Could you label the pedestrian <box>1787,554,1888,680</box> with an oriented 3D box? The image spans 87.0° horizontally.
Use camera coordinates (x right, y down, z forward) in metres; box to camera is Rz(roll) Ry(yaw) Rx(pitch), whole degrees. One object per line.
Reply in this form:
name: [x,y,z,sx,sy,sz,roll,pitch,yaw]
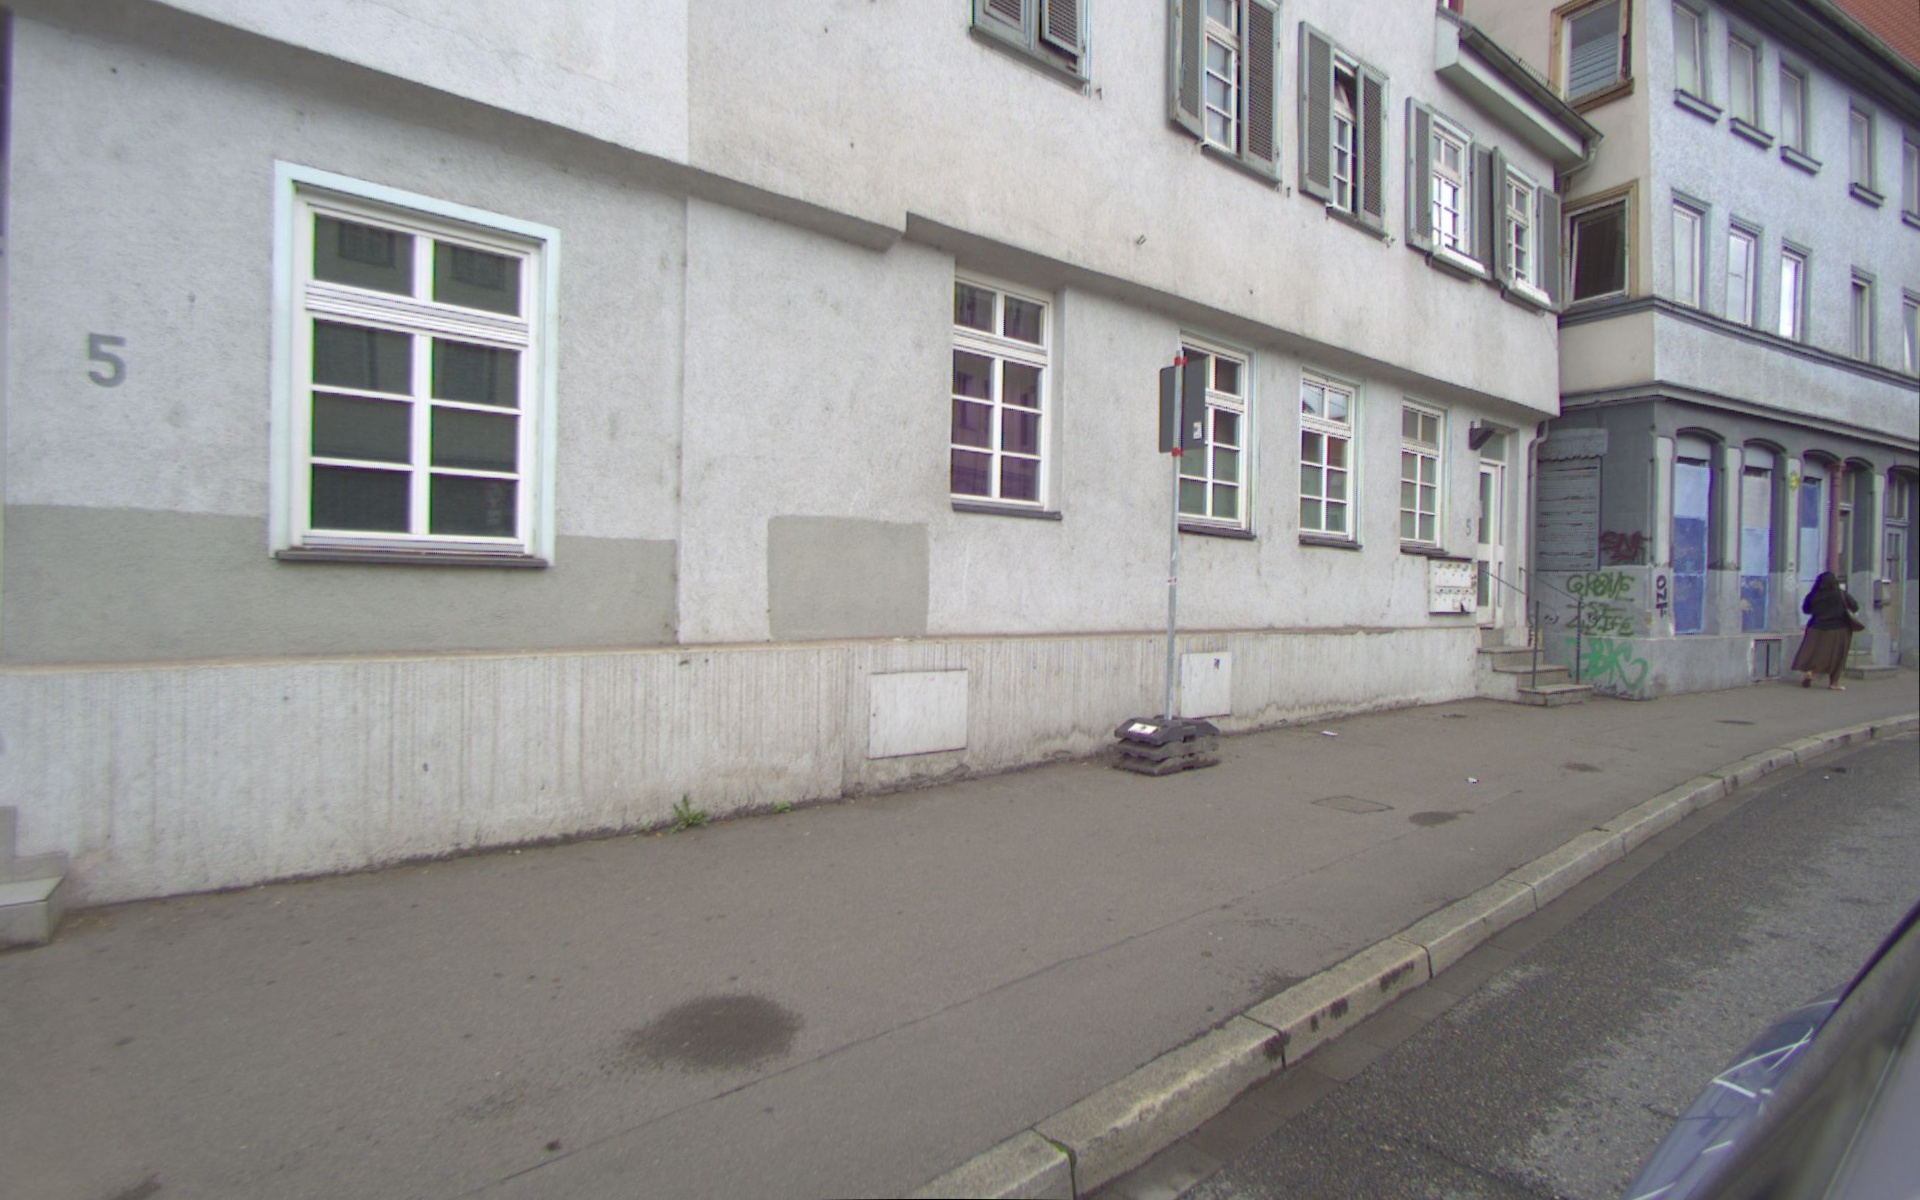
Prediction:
pedestrian: [12.325,0.223,14.218,0.793,1.687,0.758,1,3,-32]
